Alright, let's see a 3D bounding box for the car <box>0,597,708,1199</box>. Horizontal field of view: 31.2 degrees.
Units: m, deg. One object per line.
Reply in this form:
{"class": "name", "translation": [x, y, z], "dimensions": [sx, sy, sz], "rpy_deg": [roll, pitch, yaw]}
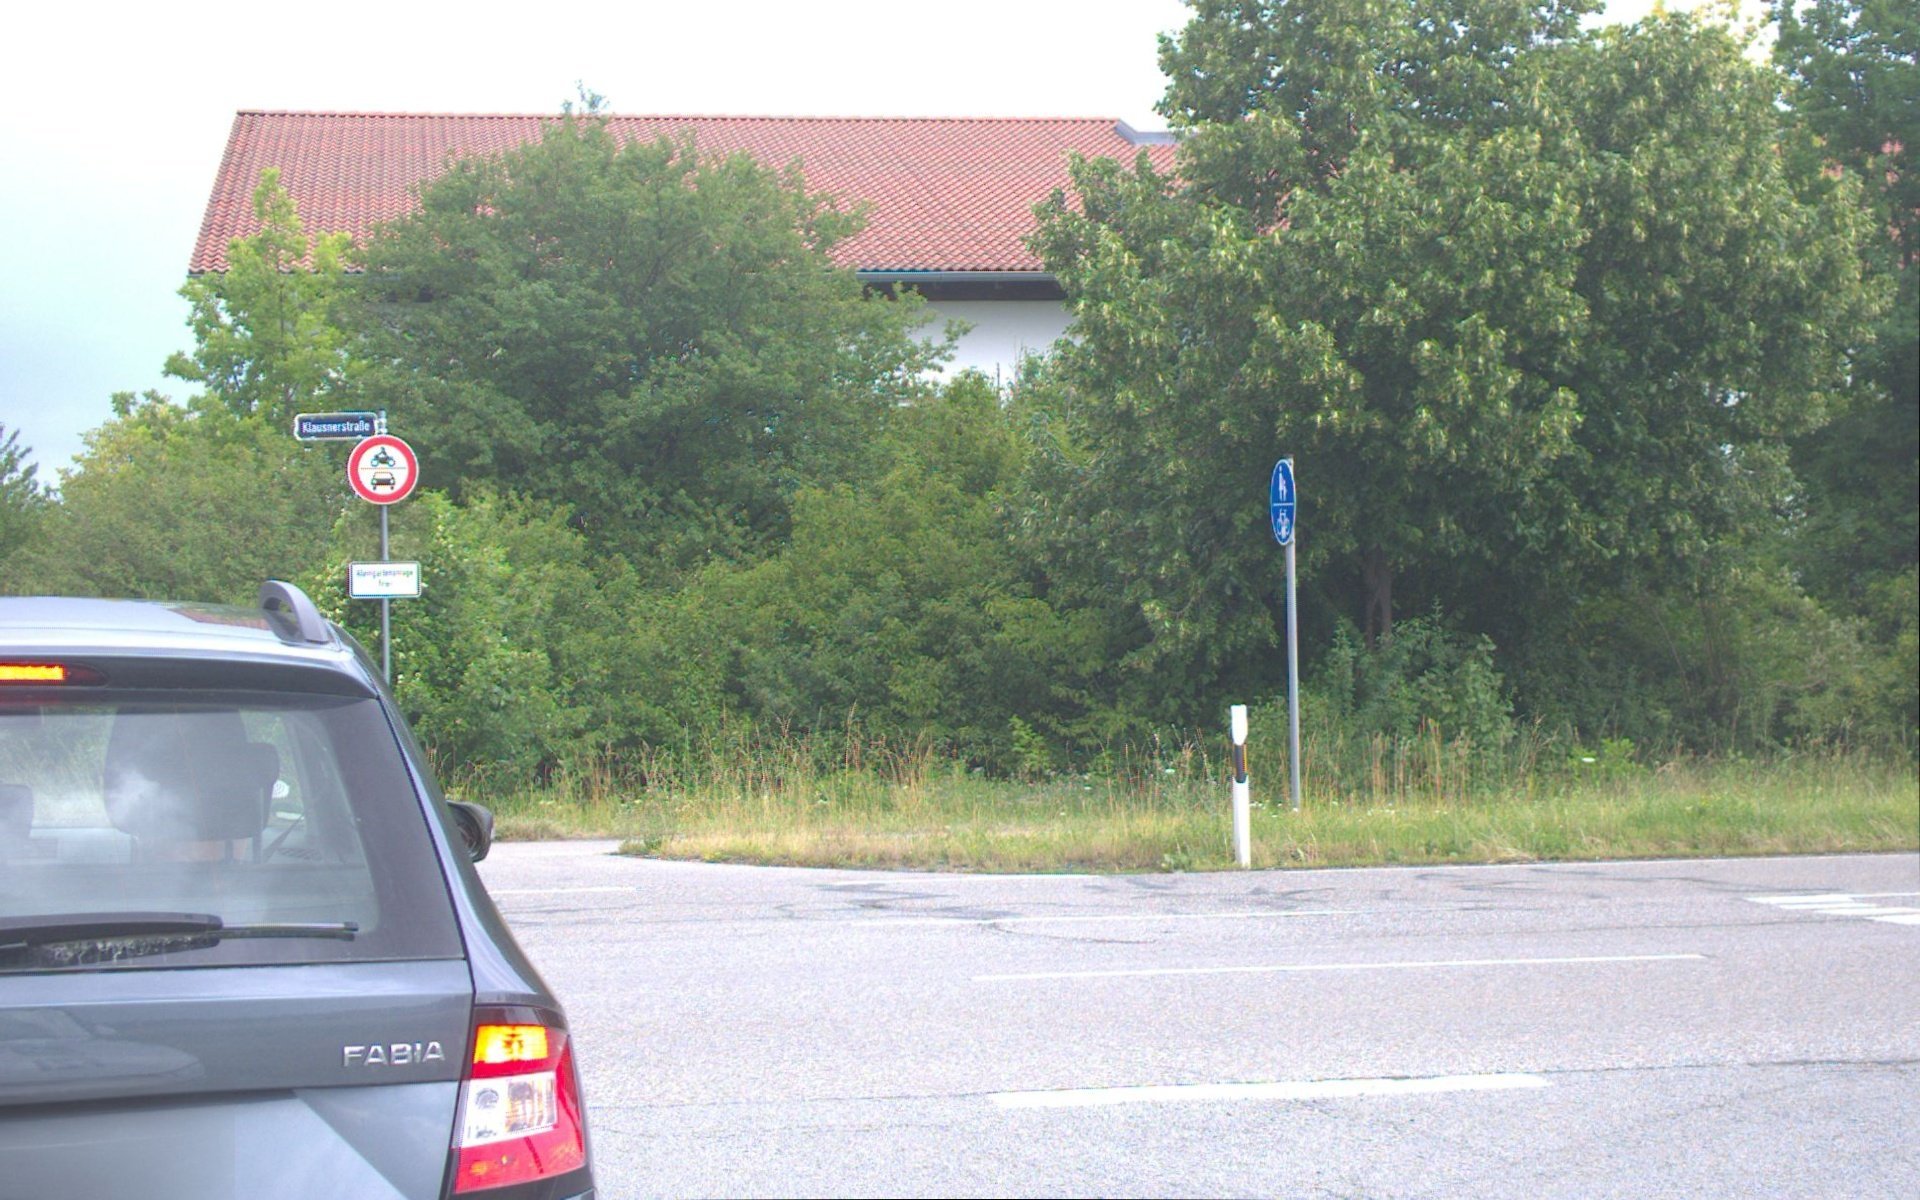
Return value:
{"class": "car", "translation": [-1.657, 0.721, 5.593], "dimensions": [1.712, 1.442, 4.118], "rpy_deg": [0, 0, -15]}
